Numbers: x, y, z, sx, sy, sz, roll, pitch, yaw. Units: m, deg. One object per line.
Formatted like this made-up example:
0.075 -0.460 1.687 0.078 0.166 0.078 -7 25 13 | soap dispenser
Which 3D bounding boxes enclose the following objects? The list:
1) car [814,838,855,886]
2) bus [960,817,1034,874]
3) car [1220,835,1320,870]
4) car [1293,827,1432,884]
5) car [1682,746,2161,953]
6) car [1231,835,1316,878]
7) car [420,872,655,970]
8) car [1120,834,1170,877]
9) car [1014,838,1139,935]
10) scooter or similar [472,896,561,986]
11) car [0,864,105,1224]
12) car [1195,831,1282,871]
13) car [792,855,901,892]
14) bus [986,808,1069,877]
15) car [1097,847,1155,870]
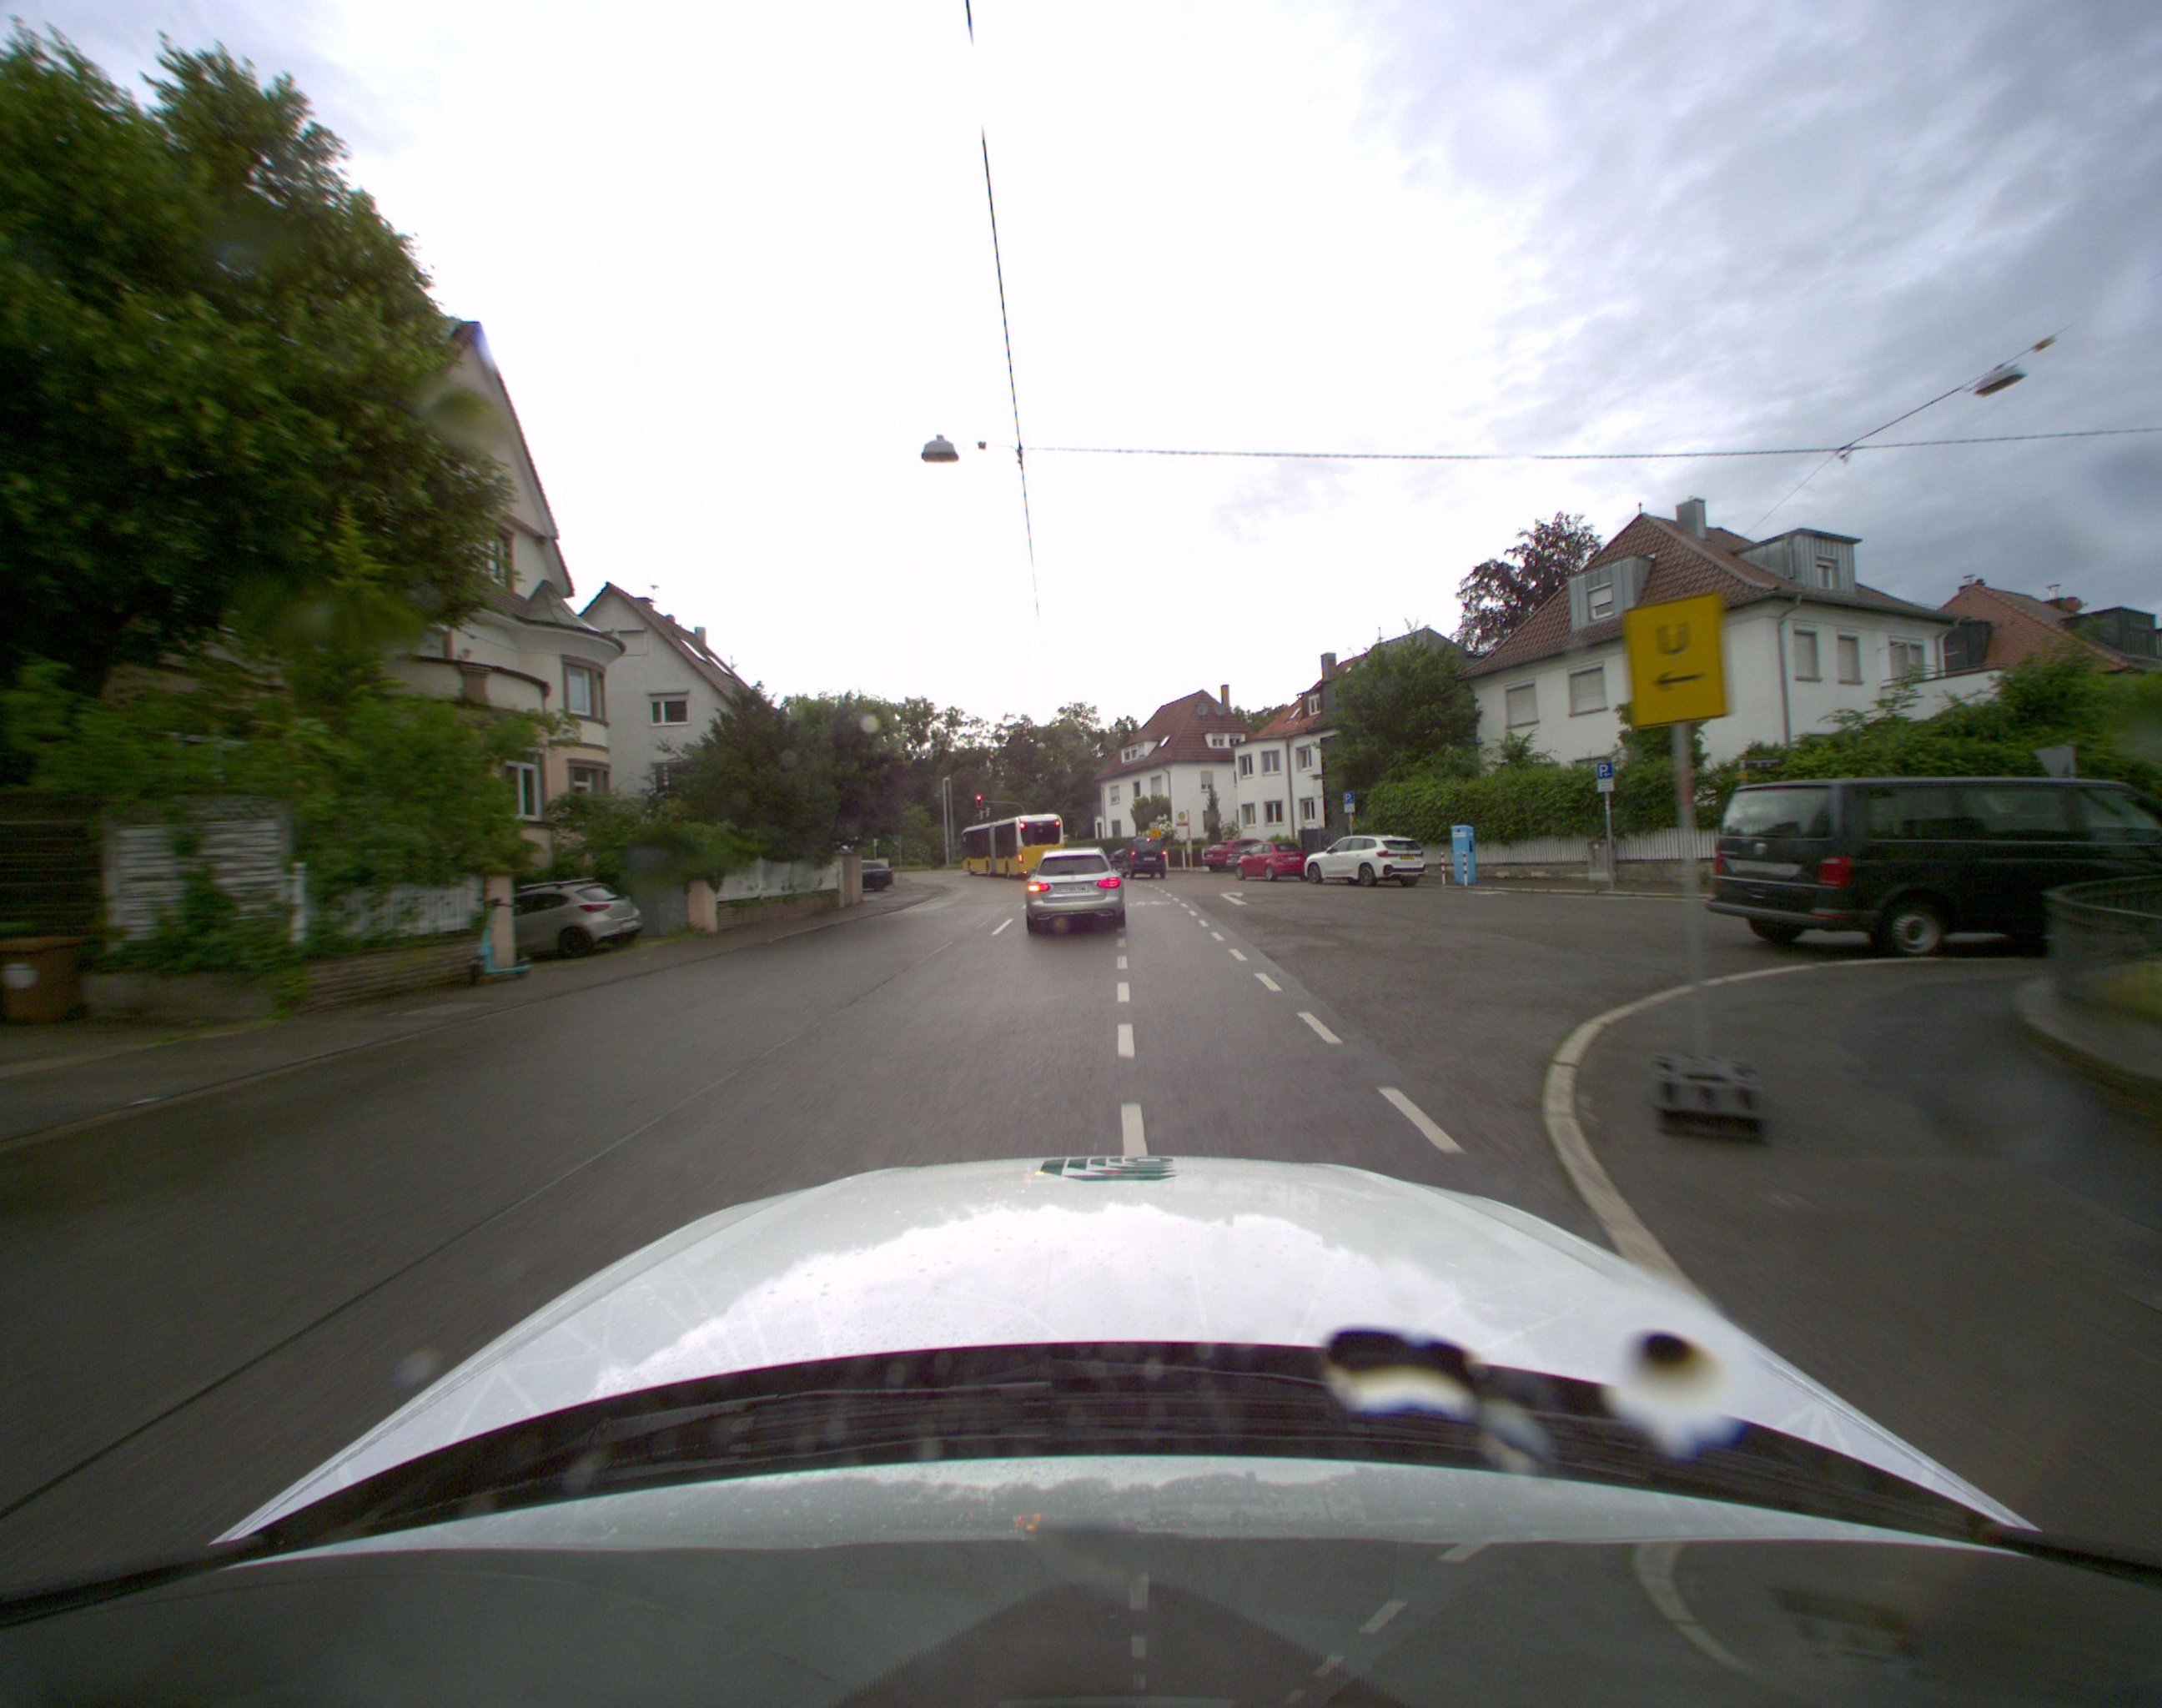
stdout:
-13.610 0.436 44.950 1.998 2.448 5.462 -2 0 -17 | car
-5.822 -0.552 54.844 2.908 3.398 8.984 -3 1 -18 | bus
9.464 -0.097 40.734 4.571 1.416 1.983 -4 1 -26 | car
9.110 0.047 26.799 1.750 1.672 4.615 -1 0 -20 | car
10.119 -0.074 9.322 4.885 1.947 1.943 -3 0 3 | car
7.456 0.081 31.857 1.616 1.537 3.519 -1 0 -18 | car
-11.147 1.334 16.894 3.569 1.540 1.710 -5 2 0 | car
2.942 0.066 37.997 1.804 1.797 3.997 -3 0 -2 | car
-0.099 0.493 15.638 1.988 1.479 4.484 -3 1 -1 | car
-8.308 1.251 12.025 0.399 1.188 1.143 -2 0 6 | scooter or similar
-5.615 0.883 2.329 1.590 1.594 3.316 -3 0 -1 | car
8.295 -0.171 42.788 4.099 1.750 1.981 -4 1 -29 | car
-10.642 0.847 37.284 1.780 1.495 4.713 -1 1 36 | car
-3.248 -0.604 46.319 2.683 3.398 8.630 -3 1 -17 | bus
3.176 0.309 57.971 3.757 1.388 1.605 -3 3 -21 | car
